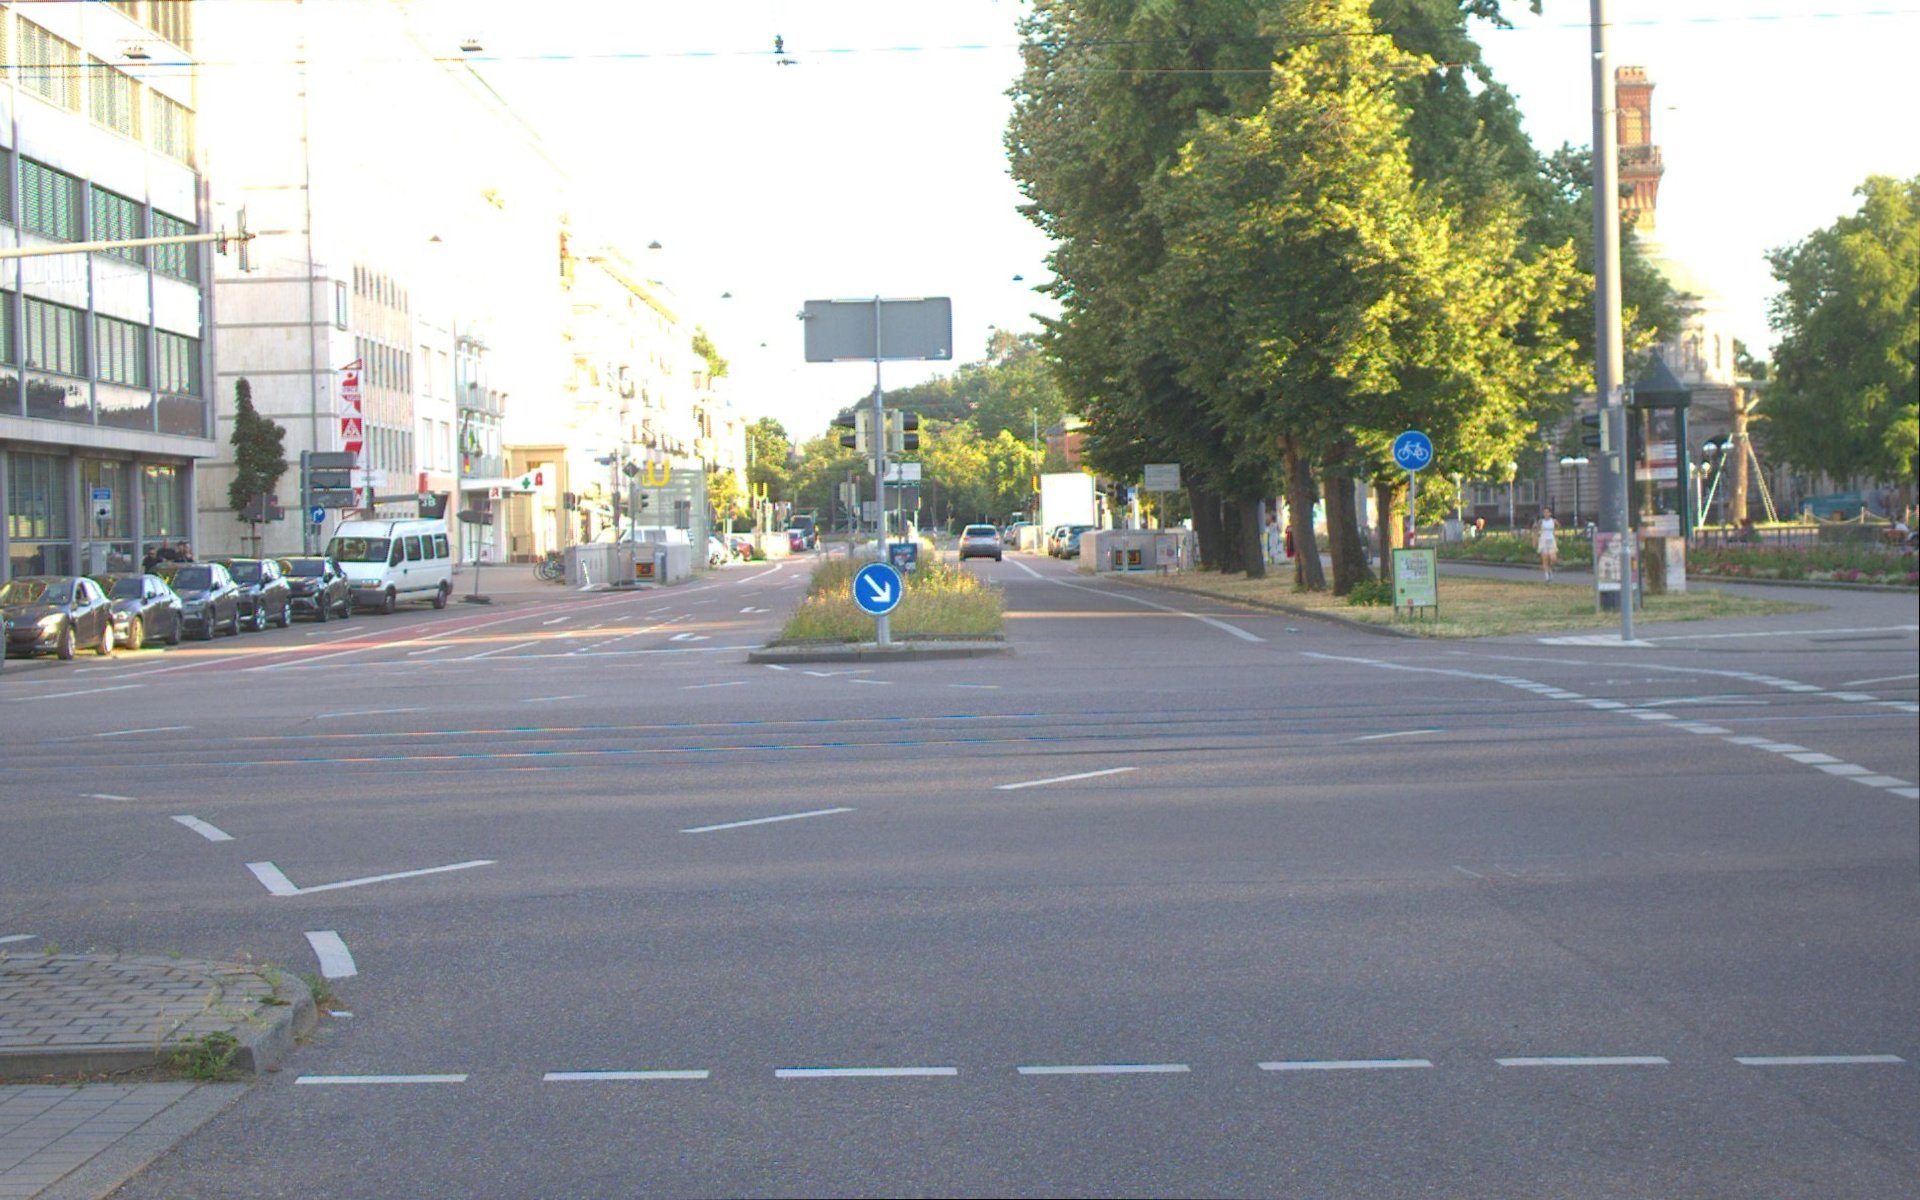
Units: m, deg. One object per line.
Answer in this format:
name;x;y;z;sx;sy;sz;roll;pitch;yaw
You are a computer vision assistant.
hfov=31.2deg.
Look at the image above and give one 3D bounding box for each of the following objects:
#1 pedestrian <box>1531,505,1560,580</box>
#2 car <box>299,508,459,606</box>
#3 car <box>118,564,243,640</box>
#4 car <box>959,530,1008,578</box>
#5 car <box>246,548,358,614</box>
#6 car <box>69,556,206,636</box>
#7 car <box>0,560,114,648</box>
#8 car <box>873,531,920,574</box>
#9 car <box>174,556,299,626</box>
pedestrian;13.094;-1.282;76.929;0.508;1.663;0.531;-1;1;-1
car;-15.387;-1.105;91.486;2.177;2.377;5.986;-2;-1;11
car;-16.550;0.057;73.156;1.796;1.470;4.000;-1;-1;-1
car;1.028;-2.050;151.655;1.993;2.007;4.000;-2;1;-1
car;-16.216;-0.453;84.899;1.796;1.470;3.999;-2;-1;3
car;-16.295;-0.059;68.266;1.796;1.470;4.000;-1;-1;-1
car;-16.631;0.096;61.986;1.796;1.470;4.000;-1;-1;-1
car;-2.760;-2.078;148.980;1.993;1.809;4.000;-2;1;-1
car;-16.487;-0.183;78.501;1.796;1.470;3.999;-2;-1;3
